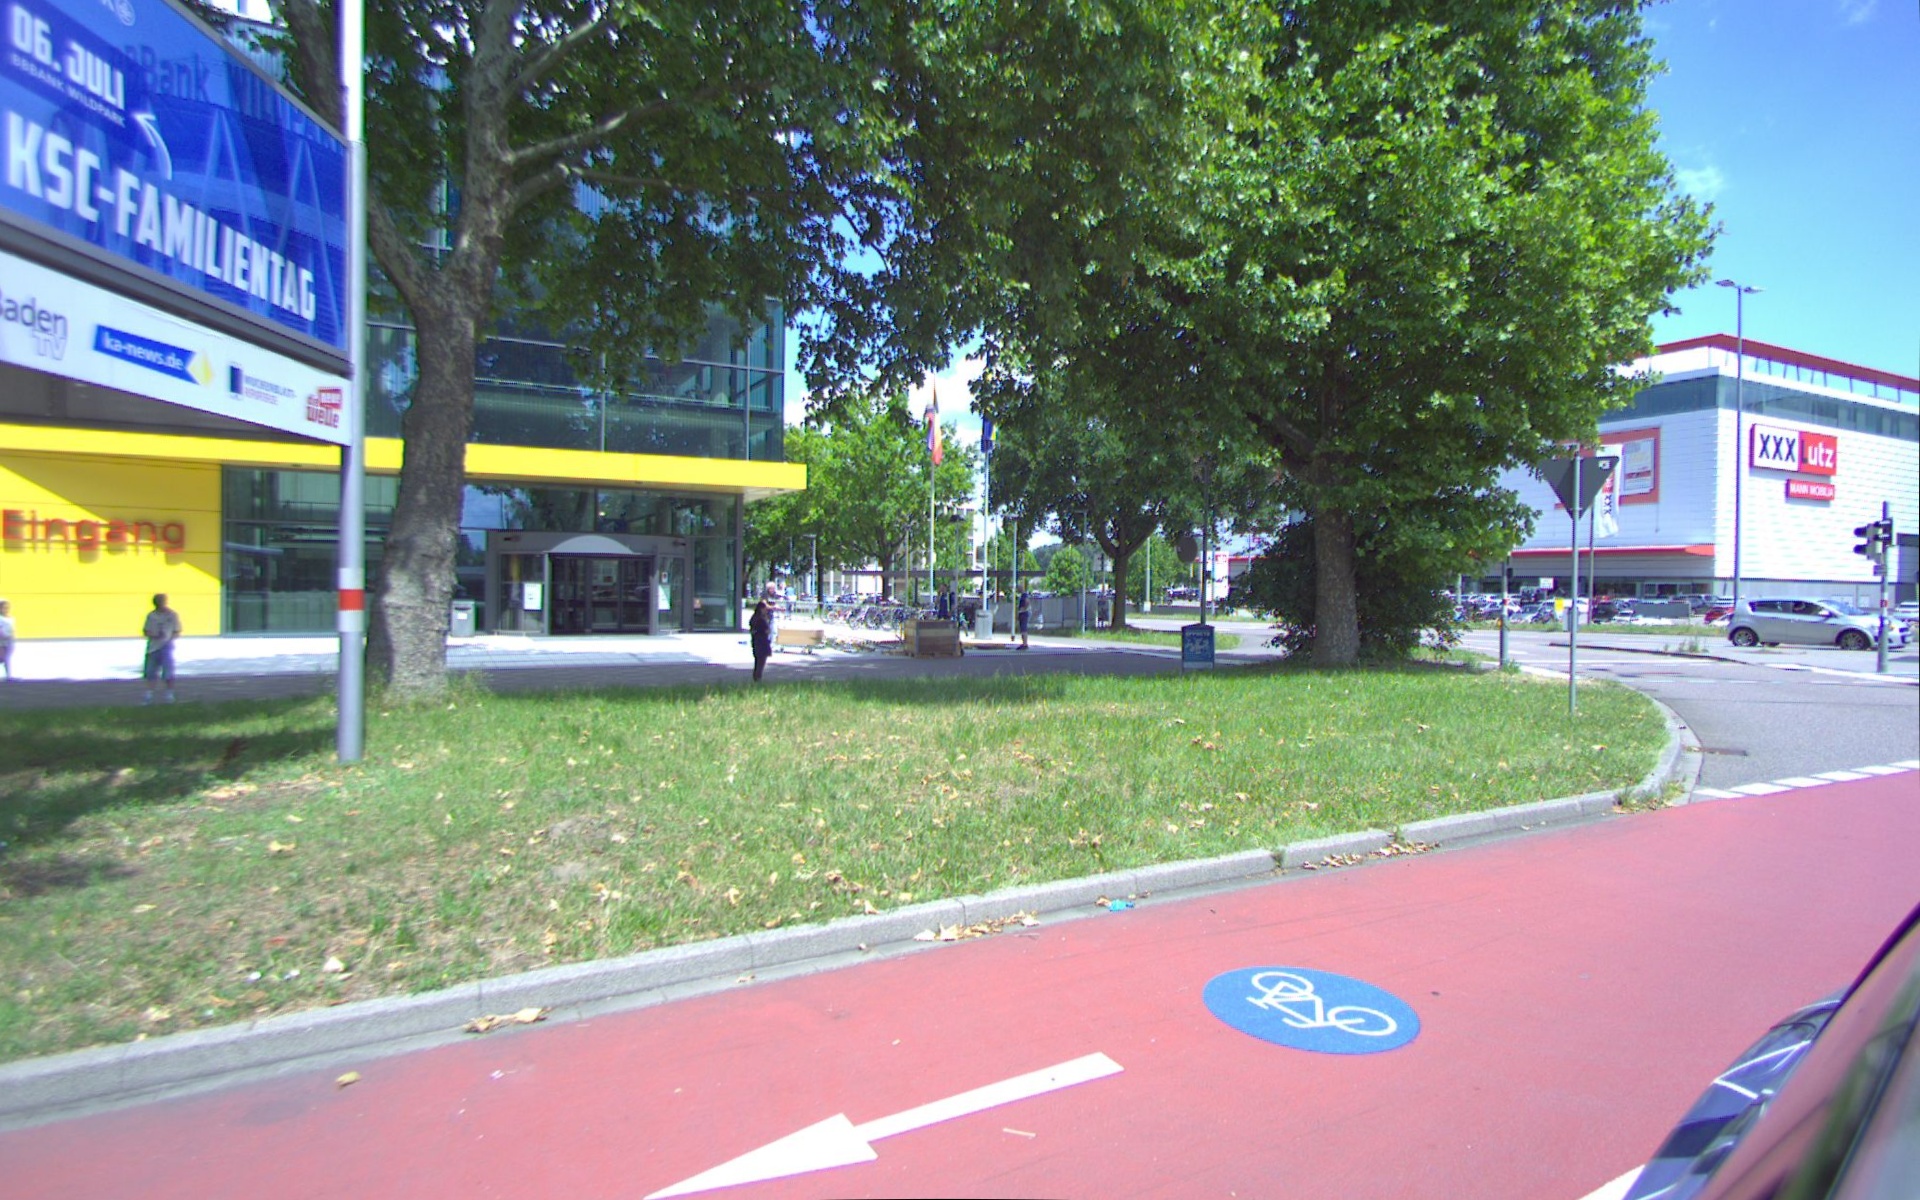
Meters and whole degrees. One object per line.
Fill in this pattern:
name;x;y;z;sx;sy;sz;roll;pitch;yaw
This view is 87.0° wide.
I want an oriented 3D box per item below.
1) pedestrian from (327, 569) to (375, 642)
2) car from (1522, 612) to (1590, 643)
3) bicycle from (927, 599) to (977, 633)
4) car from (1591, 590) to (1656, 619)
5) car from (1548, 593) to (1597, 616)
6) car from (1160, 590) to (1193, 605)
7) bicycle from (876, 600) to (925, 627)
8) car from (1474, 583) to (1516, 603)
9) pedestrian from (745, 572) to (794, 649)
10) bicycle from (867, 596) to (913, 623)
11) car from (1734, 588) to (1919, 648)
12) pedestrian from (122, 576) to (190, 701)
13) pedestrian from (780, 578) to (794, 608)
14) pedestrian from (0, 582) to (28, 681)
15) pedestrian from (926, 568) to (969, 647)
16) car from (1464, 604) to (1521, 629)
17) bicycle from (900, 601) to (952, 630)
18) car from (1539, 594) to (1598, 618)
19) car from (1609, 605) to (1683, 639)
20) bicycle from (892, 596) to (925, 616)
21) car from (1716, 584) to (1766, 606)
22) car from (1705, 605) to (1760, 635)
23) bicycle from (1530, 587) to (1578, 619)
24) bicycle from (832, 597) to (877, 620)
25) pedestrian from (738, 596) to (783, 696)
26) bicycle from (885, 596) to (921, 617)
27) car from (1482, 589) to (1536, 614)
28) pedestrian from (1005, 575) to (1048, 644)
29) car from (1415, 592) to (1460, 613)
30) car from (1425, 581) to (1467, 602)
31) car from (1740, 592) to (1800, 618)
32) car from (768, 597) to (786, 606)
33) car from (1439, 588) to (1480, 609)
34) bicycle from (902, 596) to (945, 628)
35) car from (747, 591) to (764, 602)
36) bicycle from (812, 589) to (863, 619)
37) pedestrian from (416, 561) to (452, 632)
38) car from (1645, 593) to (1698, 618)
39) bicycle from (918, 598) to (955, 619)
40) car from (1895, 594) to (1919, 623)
pedestrian;-14.449;0.122;24.024;0.799;1.684;0.695;2;1;33
car;40.329;1.851;68.447;4.274;2.014;2.003;1;0;-28
bicycle;-0.259;0.552;35.101;0.503;1.121;1.894;3;2;45
car;48.297;0.292;73.655;4.504;2.014;2.003;-1;2;-28
car;55.501;0.420;91.666;4.002;2.014;2.003;1;0;-28
car;30.504;-0.339;142.560;4.274;2.014;2.003;1;0;-28
bicycle;-2.240;0.509;38.042;1.831;1.007;0.465;0;0;-31
car;55.352;-0.729;104.721;3.918;2.039;2.003;0;0;-28
pedestrian;-4.870;0.251;25.967;0.875;1.909;0.969;1;1;16
bicycle;-2.801;0.387;40.476;1.831;1.007;0.424;2;0;-32
car;24.059;0.458;27.938;1.862;1.488;3.837;-2;0;-29
pedestrian;-11.946;0.549;15.051;0.655;1.794;0.667;0;0;-26
pedestrian;-10.375;-0.414;60.704;0.517;1.743;0.631;2;1;17
pedestrian;-16.103;0.517;16.920;0.653;1.637;0.592;0;-1;-31
pedestrian;-0.354;0.196;28.146;0.990;2.097;0.977;1;3;-12
car;43.478;1.328;82.625;4.274;2.014;2.003;1;0;-28
bicycle;-1.199;0.571;35.983;1.829;1.007;0.424;1;-1;-25
car;47.591;0.481;79.130;4.274;1.863;2.003;1;0;-28
car;42.420;1.343;62.532;4.274;2.014;2.003;1;0;-28
bicycle;-2.853;0.334;56.597;1.831;1.007;0.424;2;-1;-32
car;72.037;-0.462;93.334;4.001;2.014;2.003;1;0;-26
car;55.125;1.374;72.204;5.213;2.014;1.998;0;0;-39
bicycle;32.238;0.155;54.967;1.000;1.697;2.051;1;0;-27
bicycle;-4.404;0.355;42.352;1.831;0.893;0.424;2;0;-32
pedestrian;-3.544;0.810;17.966;0.581;1.683;0.721;2;2;-23
bicycle;-2.923;0.320;51.947;1.831;1.007;0.424;2;0;-32
car;47.303;0.147;87.260;4.274;2.014;2.003;1;2;-28
pedestrian;1.896;0.265;29.000;0.990;1.926;0.976;1;0;-12
car;49.515;0.283;104.914;4.274;2.014;2.003;1;2;-28
car;54.314;-0.944;113.025;4.478;2.335;1.872;1;0;-28
car;62.892;0.390;78.570;4.533;2.014;2.003;1;0;-29
car;-28.017;0.264;155.022;1.760;1.267;4.314;1;-1;-25
car;50.651;-0.130;102.587;3.918;2.039;1.780;0;0;-28
bicycle;-1.331;0.448;37.074;1.652;1.172;0.461;1;-1;-41
car;-33.538;-0.592;165.990;1.760;1.665;4.178;1;-1;-24
bicycle;-5.401;0.192;44.545;2.101;1.245;0.722;2;-1;-17
pedestrian;-14.363;-0.091;27.634;0.765;1.910;0.619;1;-1;-18
car;60.068;0.486;85.454;4.002;2.014;2.003;1;0;-28
bicycle;-1.131;0.410;49.120;1.831;1.007;0.424;1;1;-32
car;70.791;0.627;74.180;4.274;2.014;2.003;1;0;-28
